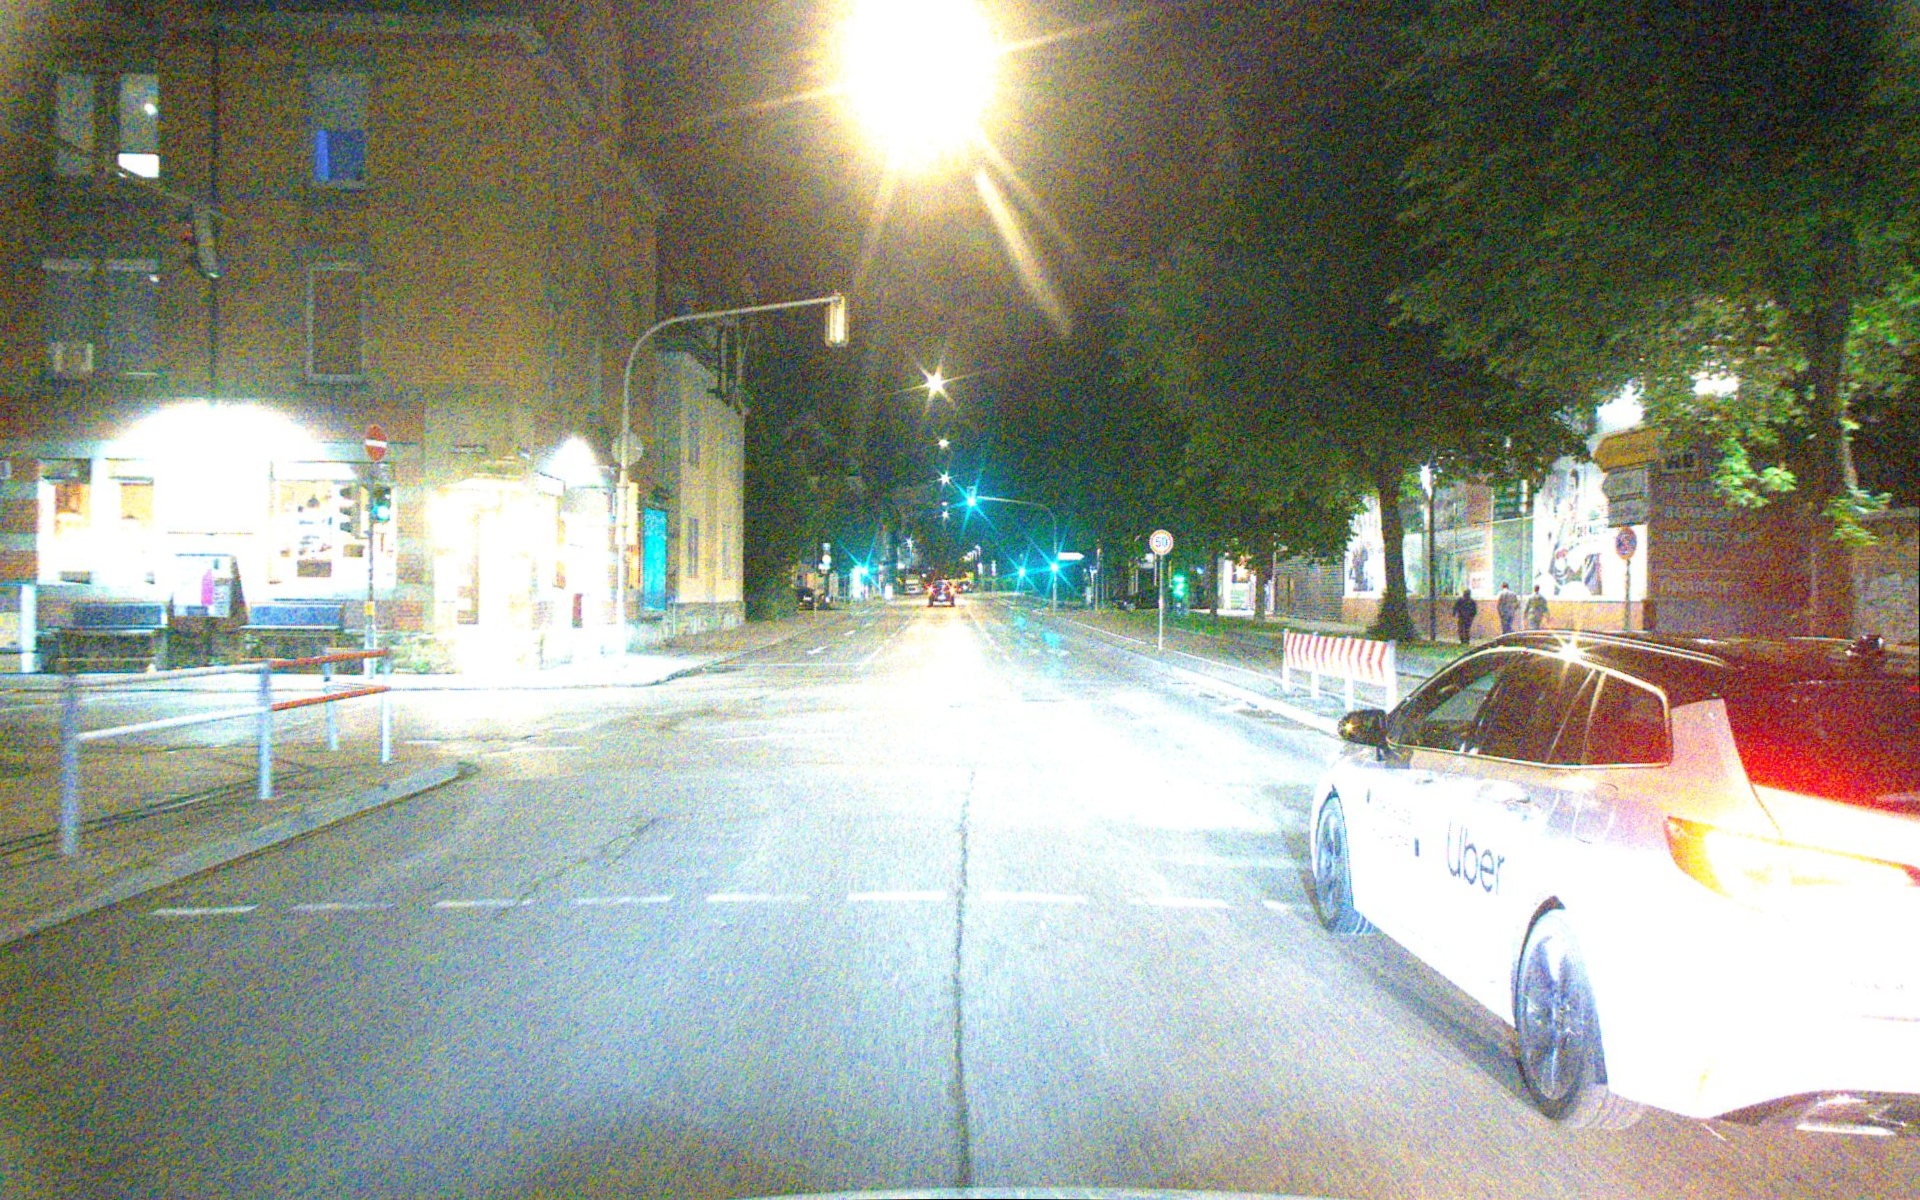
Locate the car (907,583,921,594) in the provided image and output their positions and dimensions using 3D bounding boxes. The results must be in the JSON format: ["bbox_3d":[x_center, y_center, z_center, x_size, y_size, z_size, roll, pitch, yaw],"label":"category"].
[{"bbox_3d":[-5.701,-1.420,205.426,1.742,1.414,3.998,-1,1,-2],"label":"car"}]

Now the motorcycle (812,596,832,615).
[{"bbox_3d":[-9.289,0.363,111.525,0.769,1.225,2.436,-1,1,-19],"label":"motorcycle"}]

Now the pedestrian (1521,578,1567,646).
[{"bbox_3d":[15.792,0.310,44.734,0.882,1.800,0.907,-1,0,-1],"label":"pedestrian"}]

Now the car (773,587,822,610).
[{"bbox_3d":[-11.235,-0.107,114.283,1.786,1.512,3.956,-1,1,-32],"label":"car"}]

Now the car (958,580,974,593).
[{"bbox_3d":[0.778,-1.788,220.087,1.954,1.624,3.998,-1,0,-3],"label":"car"}]

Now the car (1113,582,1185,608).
[{"bbox_3d":[10.594,-0.294,93.036,3.904,1.410,1.772,-1,0,2],"label":"car"}]

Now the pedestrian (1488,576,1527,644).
[{"bbox_3d":[14.736,0.254,44.503,0.723,1.800,0.907,-1,0,-1],"label":"pedestrian"}]

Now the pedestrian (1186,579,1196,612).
[{"bbox_3d":[14.357,-0.277,102.718,0.521,2.049,0.670,0,0,-1],"label":"pedestrian"}]

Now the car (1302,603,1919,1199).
[{"bbox_3d":[2.584,0.789,5.921,1.694,1.460,4.209,2,0,-2],"label":"car"}]

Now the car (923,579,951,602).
[{"bbox_3d":[-1.692,-0.696,121.739,1.953,1.668,3.998,0,0,-2],"label":"car"}]

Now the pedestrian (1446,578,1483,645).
[{"bbox_3d":[13.659,0.301,44.784,0.699,1.800,0.907,-1,0,-1],"label":"pedestrian"}]
